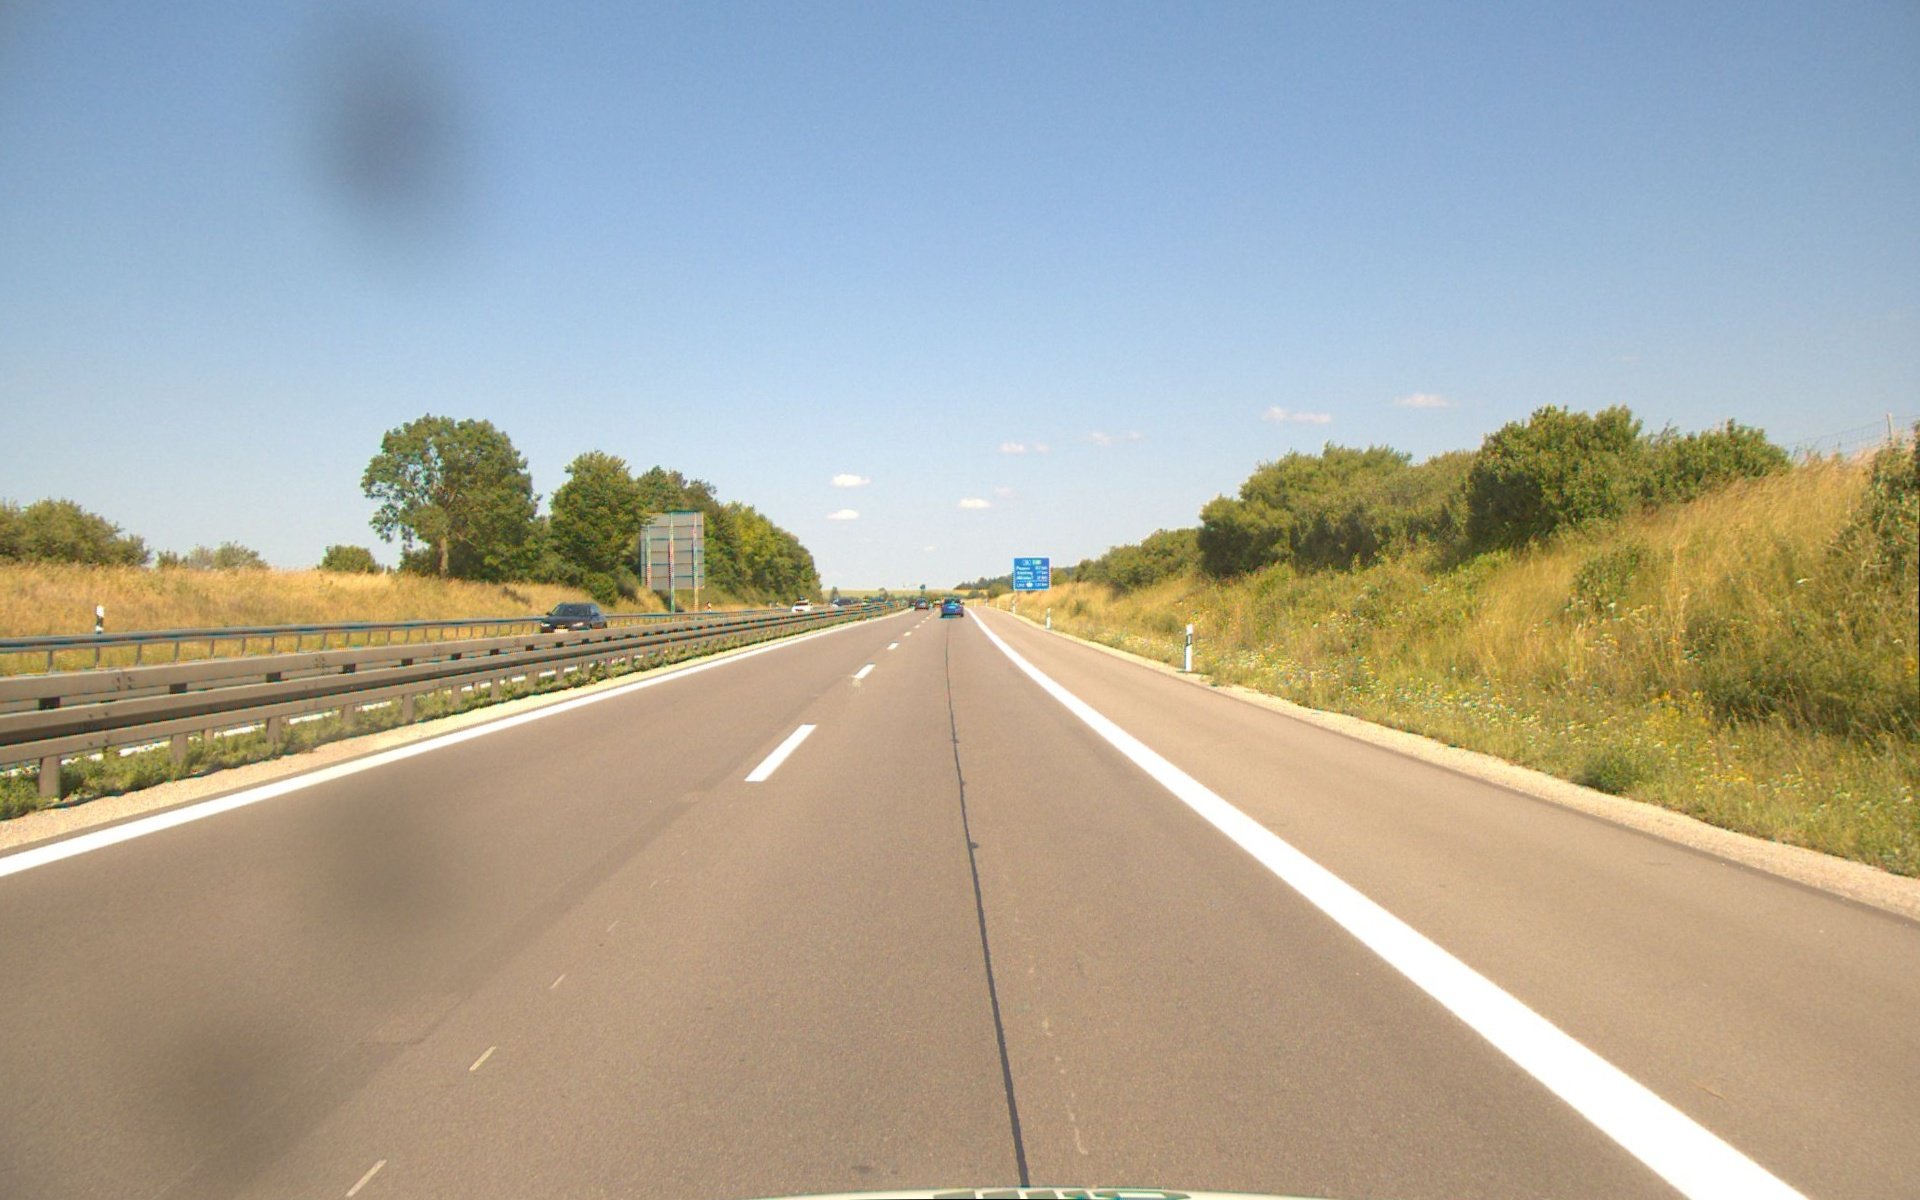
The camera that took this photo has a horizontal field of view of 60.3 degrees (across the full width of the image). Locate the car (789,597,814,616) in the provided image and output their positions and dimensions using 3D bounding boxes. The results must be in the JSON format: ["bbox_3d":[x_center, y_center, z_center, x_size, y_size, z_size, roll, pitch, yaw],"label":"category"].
[{"bbox_3d":[-15.595,0.623,162.693,1.905,1.877,5.184,0,0,0],"label":"car"}]

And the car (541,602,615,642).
[{"bbox_3d":[-14.793,0.829,64.250,1.689,1.493,5.240,0,0,0],"label":"car"}]

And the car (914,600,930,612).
[{"bbox_3d":[-4.832,0.728,210.248,1.792,1.478,3.592,-2,0,0],"label":"car"}]

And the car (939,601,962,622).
[{"bbox_3d":[-0.729,0.850,125.569,1.642,1.478,3.591,-2,0,0],"label":"car"}]
